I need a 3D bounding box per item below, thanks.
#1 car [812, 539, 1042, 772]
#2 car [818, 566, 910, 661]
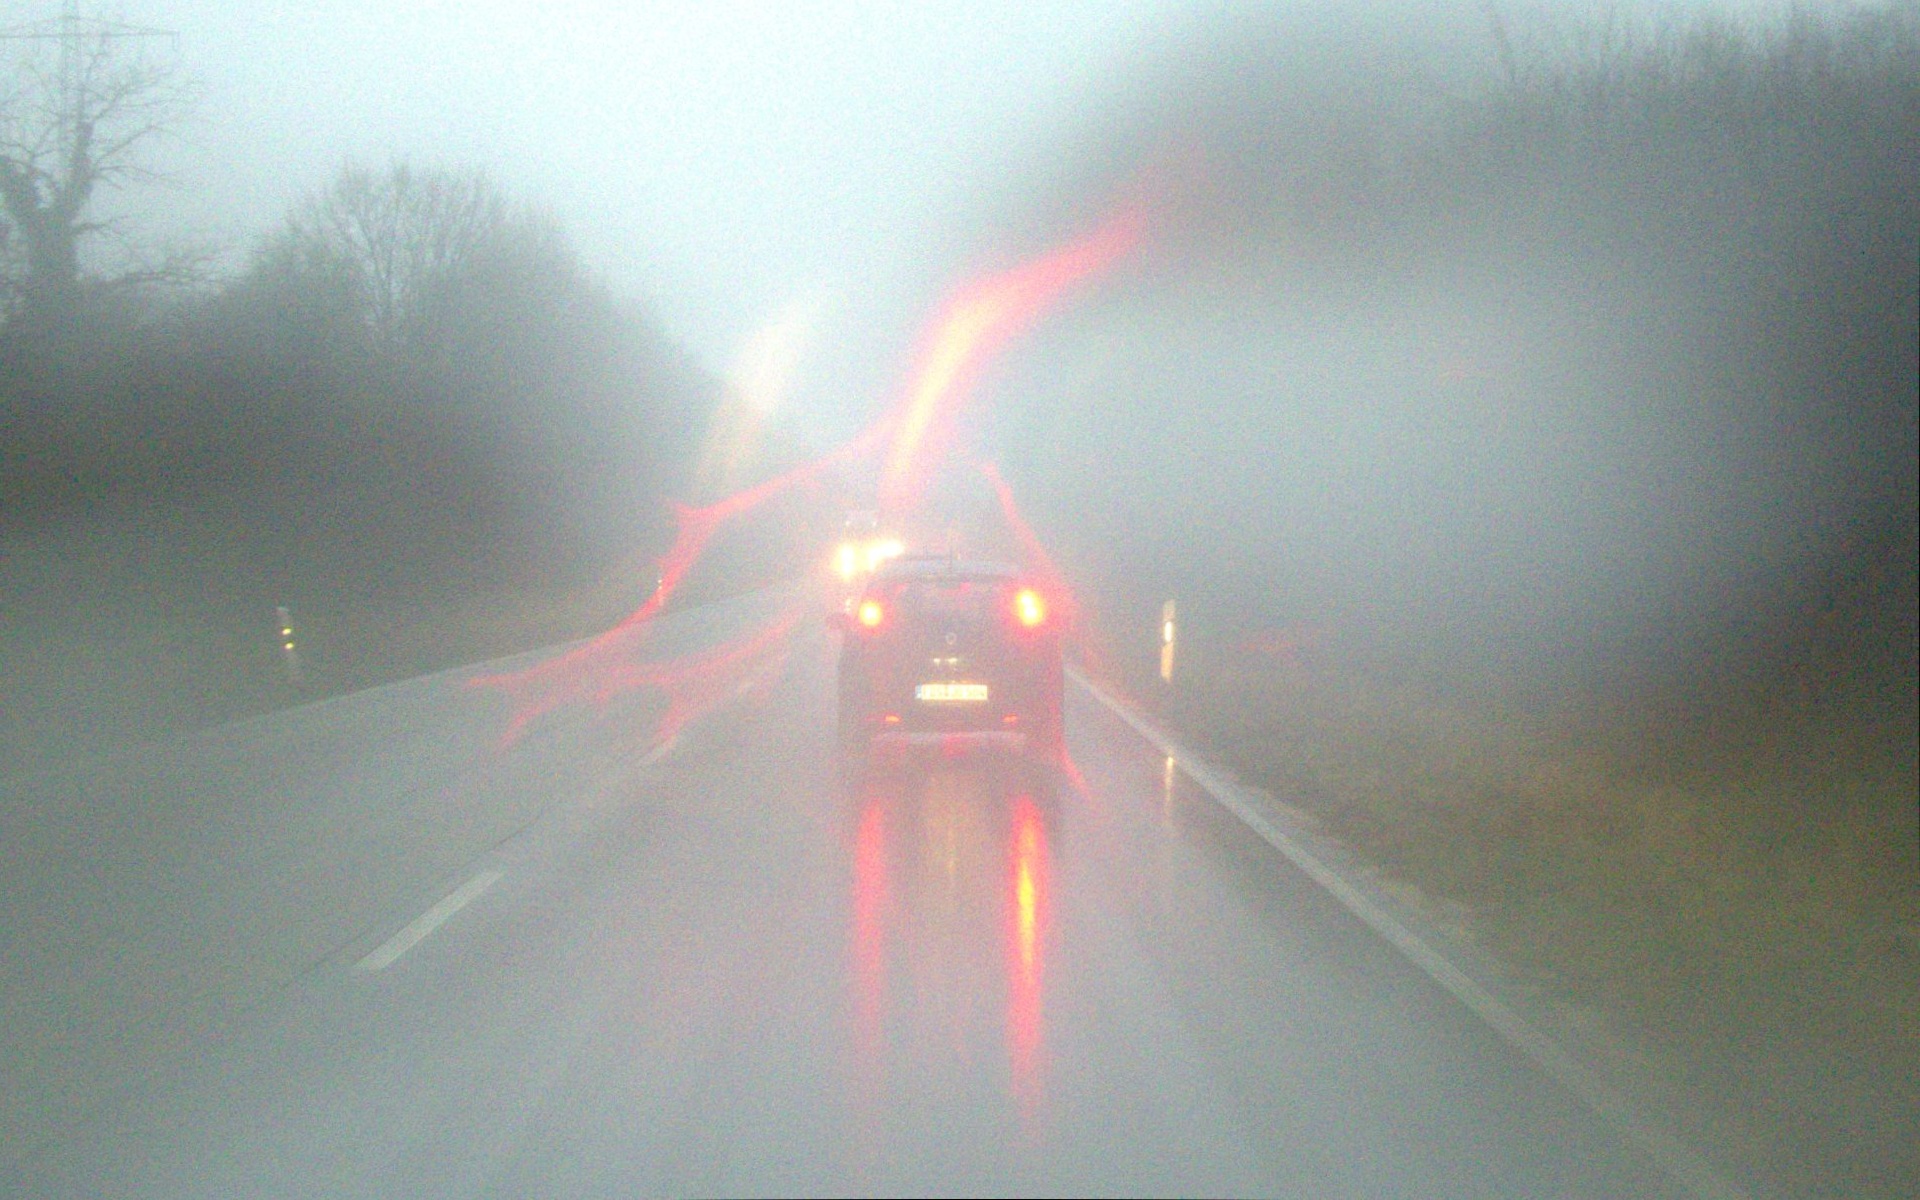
[{"bbox_3d":[-0.254,0.374,26.449,1.648,1.666,3.514,0,1,-1],"label":"car"},{"bbox_3d":[-1.845,0.232,66.876,1.733,1.773,4.000,0,1,-1],"label":"car"}]
